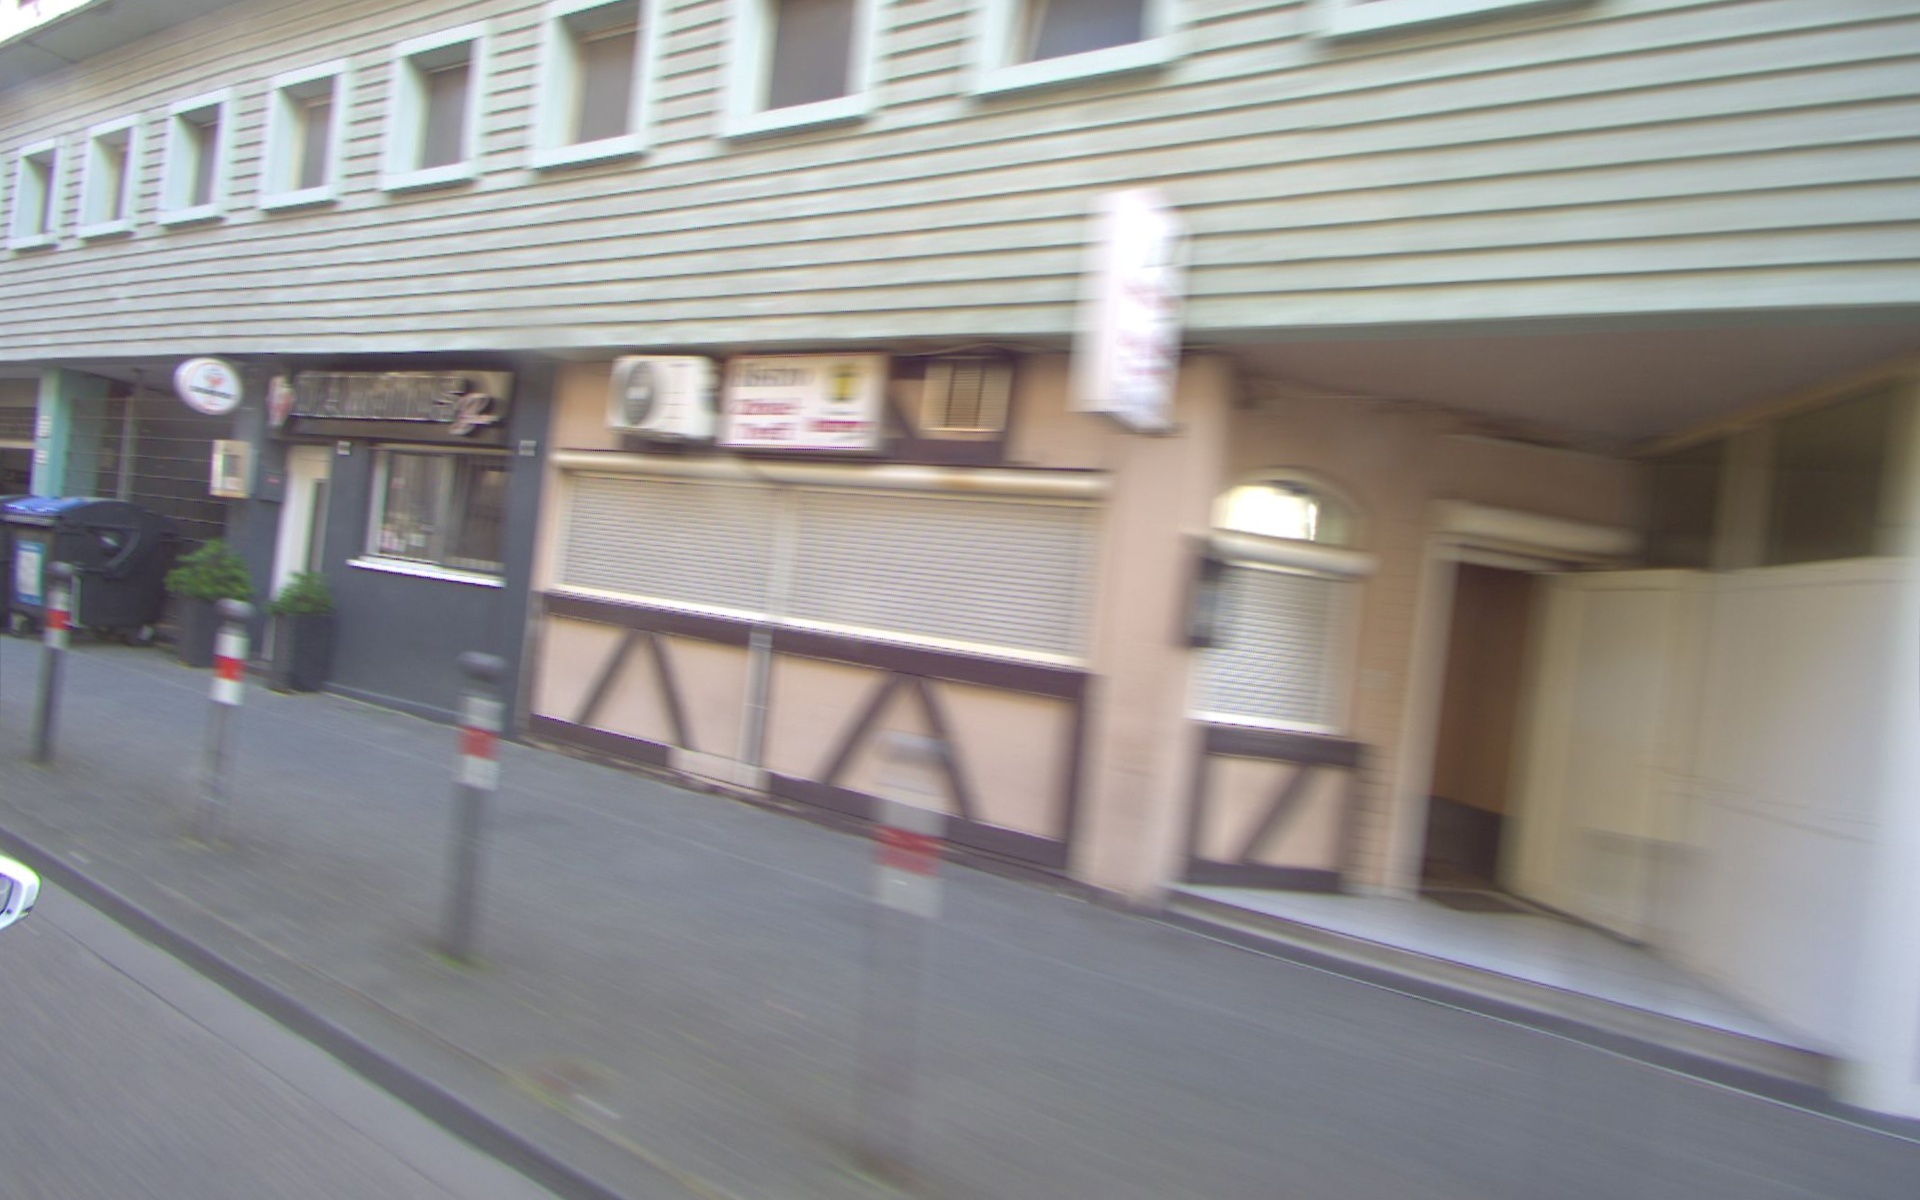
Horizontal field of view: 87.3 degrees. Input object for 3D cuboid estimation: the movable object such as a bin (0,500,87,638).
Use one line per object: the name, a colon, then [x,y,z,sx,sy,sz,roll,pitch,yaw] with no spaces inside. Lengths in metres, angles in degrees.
movable object such as a bin: [-10.299,-0.354,10.798,1.298,1.402,0.982,5,1,30]

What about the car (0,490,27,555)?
car: [-24.360,-2.041,22.941,1.833,1.500,4.086,7,0,27]

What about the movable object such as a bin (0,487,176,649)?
movable object such as a bin: [-8.882,-0.318,10.146,1.525,1.499,0.982,5,1,30]

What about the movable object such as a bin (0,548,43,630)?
movable object such as a bin: [-11.001,-0.140,11.531,0.514,0.911,0.557,5,1,30]
